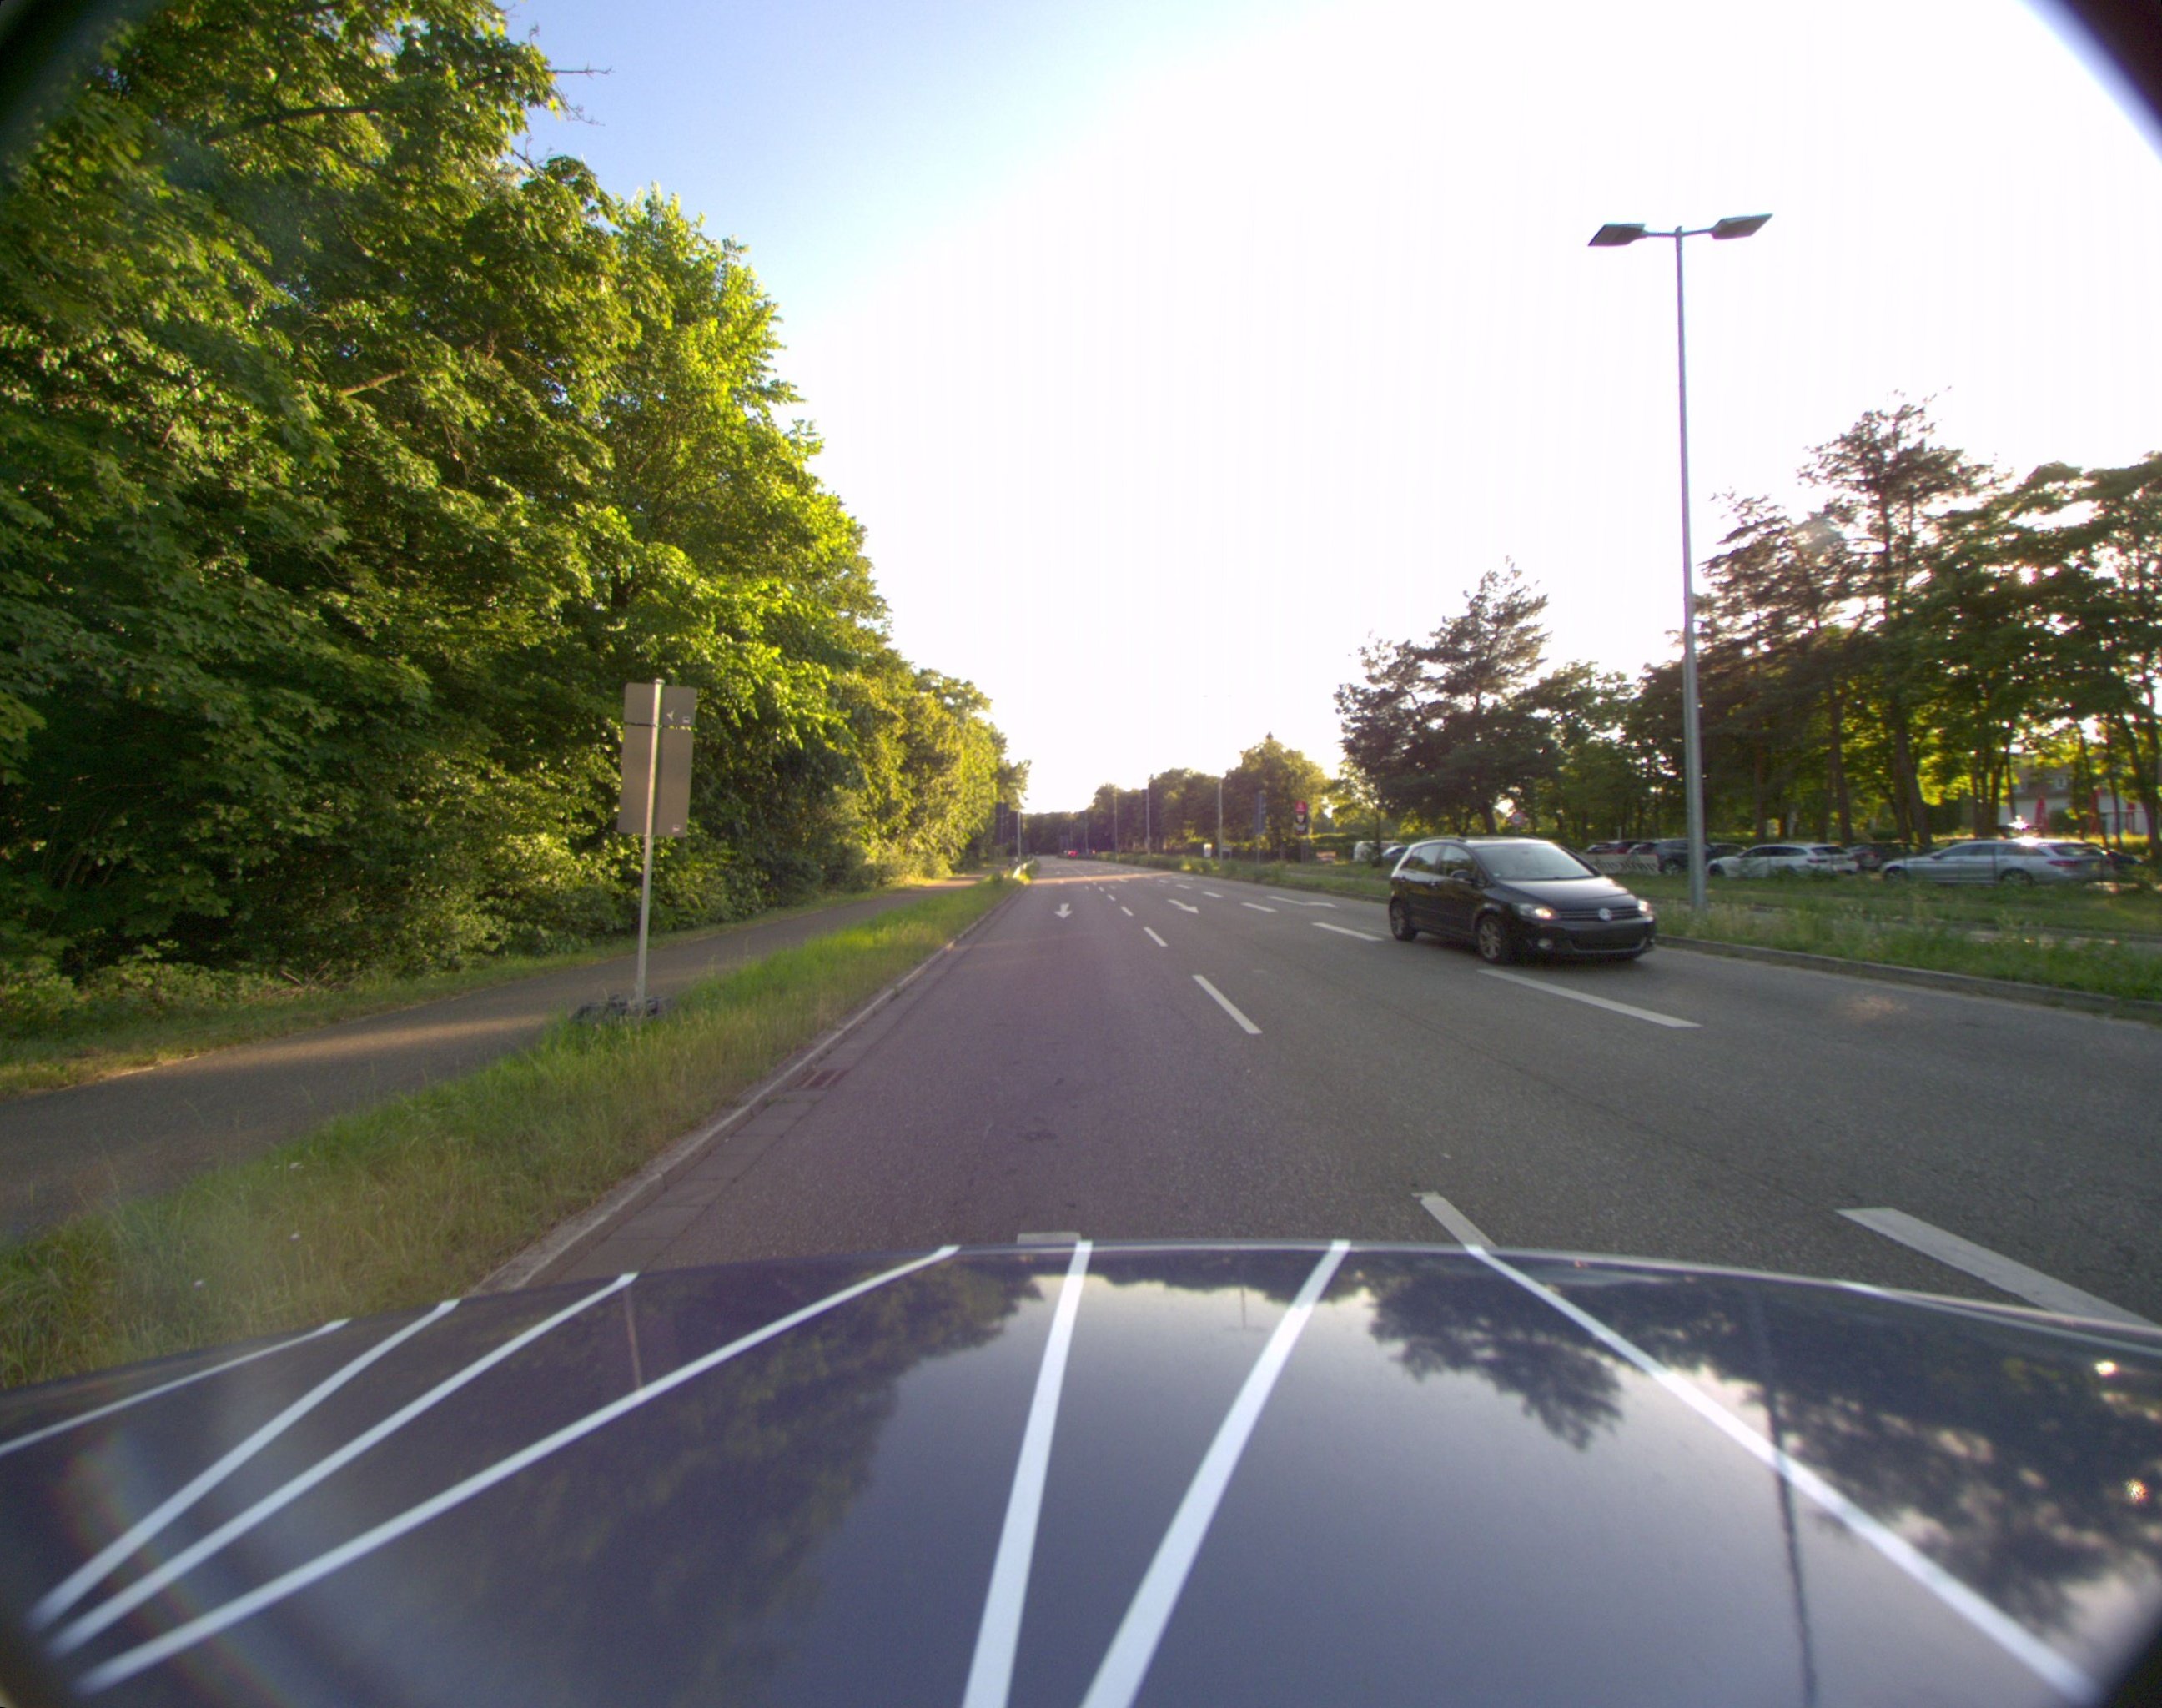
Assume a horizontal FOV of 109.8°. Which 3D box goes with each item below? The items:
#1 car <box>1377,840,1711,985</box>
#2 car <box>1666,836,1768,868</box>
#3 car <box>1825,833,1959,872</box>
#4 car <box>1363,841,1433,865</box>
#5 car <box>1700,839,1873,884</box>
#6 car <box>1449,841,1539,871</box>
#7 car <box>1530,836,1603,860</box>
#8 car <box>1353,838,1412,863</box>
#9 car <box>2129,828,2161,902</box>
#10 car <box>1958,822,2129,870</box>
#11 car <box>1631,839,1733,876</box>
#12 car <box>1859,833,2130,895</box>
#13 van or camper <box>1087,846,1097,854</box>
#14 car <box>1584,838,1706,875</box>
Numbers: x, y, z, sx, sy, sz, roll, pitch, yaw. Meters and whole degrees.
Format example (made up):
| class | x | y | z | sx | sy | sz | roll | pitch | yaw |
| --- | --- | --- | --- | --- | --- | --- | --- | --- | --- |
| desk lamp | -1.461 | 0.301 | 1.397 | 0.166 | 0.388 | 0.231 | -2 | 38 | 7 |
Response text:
| class | x | y | z | sx | sy | sz | roll | pitch | yaw |
| --- | --- | --- | --- | --- | --- | --- | --- | --- | --- |
| car | 5.814 | 0.624 | 10.255 | 1.999 | 1.543 | 3.999 | -1 | 0 | -2 |
| car | 34.081 | -0.120 | 40.801 | 3.997 | 1.641 | 1.766 | -1 | 1 | -1 |
| car | 35.422 | -0.073 | 33.246 | 3.997 | 1.641 | 1.766 | -1 | 1 | -1 |
| car | 24.177 | -0.098 | 58.029 | 4.498 | 1.787 | 1.909 | -1 | 1 | -2 |
| car | 26.422 | 0.257 | 28.735 | 1.999 | 1.539 | 4.708 | -1 | 1 | -4 |
| car | 25.170 | 0.130 | 46.405 | 4.497 | 1.743 | 1.909 | -1 | 1 | -1 |
| car | 34.121 | -0.401 | 53.482 | 3.997 | 1.641 | 1.766 | -1 | 1 | -1 |
| car | 24.214 | -0.251 | 61.068 | 3.998 | 1.933 | 1.766 | -1 | 1 | -2 |
| car | 27.109 | 0.258 | 16.419 | 1.999 | 1.776 | 4.920 | -1 | 1 | -4 |
| car | 34.982 | -0.287 | 27.690 | 3.997 | 1.641 | 1.766 | -1 | 1 | -1 |
| car | 25.838 | 0.139 | 32.728 | 3.099 | 1.518 | 1.659 | -1 | 1 | -2 |
| car | 26.777 | 0.246 | 22.626 | 1.999 | 1.597 | 4.920 | -1 | 0 | -4 |
| van or camper | 2.721 | -0.927 | 192.936 | 2.000 | 2.002 | 4.574 | -1 | 1 | -7 |
| car | 26.502 | 0.110 | 35.779 | 4.525 | 1.608 | 1.771 | -1 | 1 | -3 |
